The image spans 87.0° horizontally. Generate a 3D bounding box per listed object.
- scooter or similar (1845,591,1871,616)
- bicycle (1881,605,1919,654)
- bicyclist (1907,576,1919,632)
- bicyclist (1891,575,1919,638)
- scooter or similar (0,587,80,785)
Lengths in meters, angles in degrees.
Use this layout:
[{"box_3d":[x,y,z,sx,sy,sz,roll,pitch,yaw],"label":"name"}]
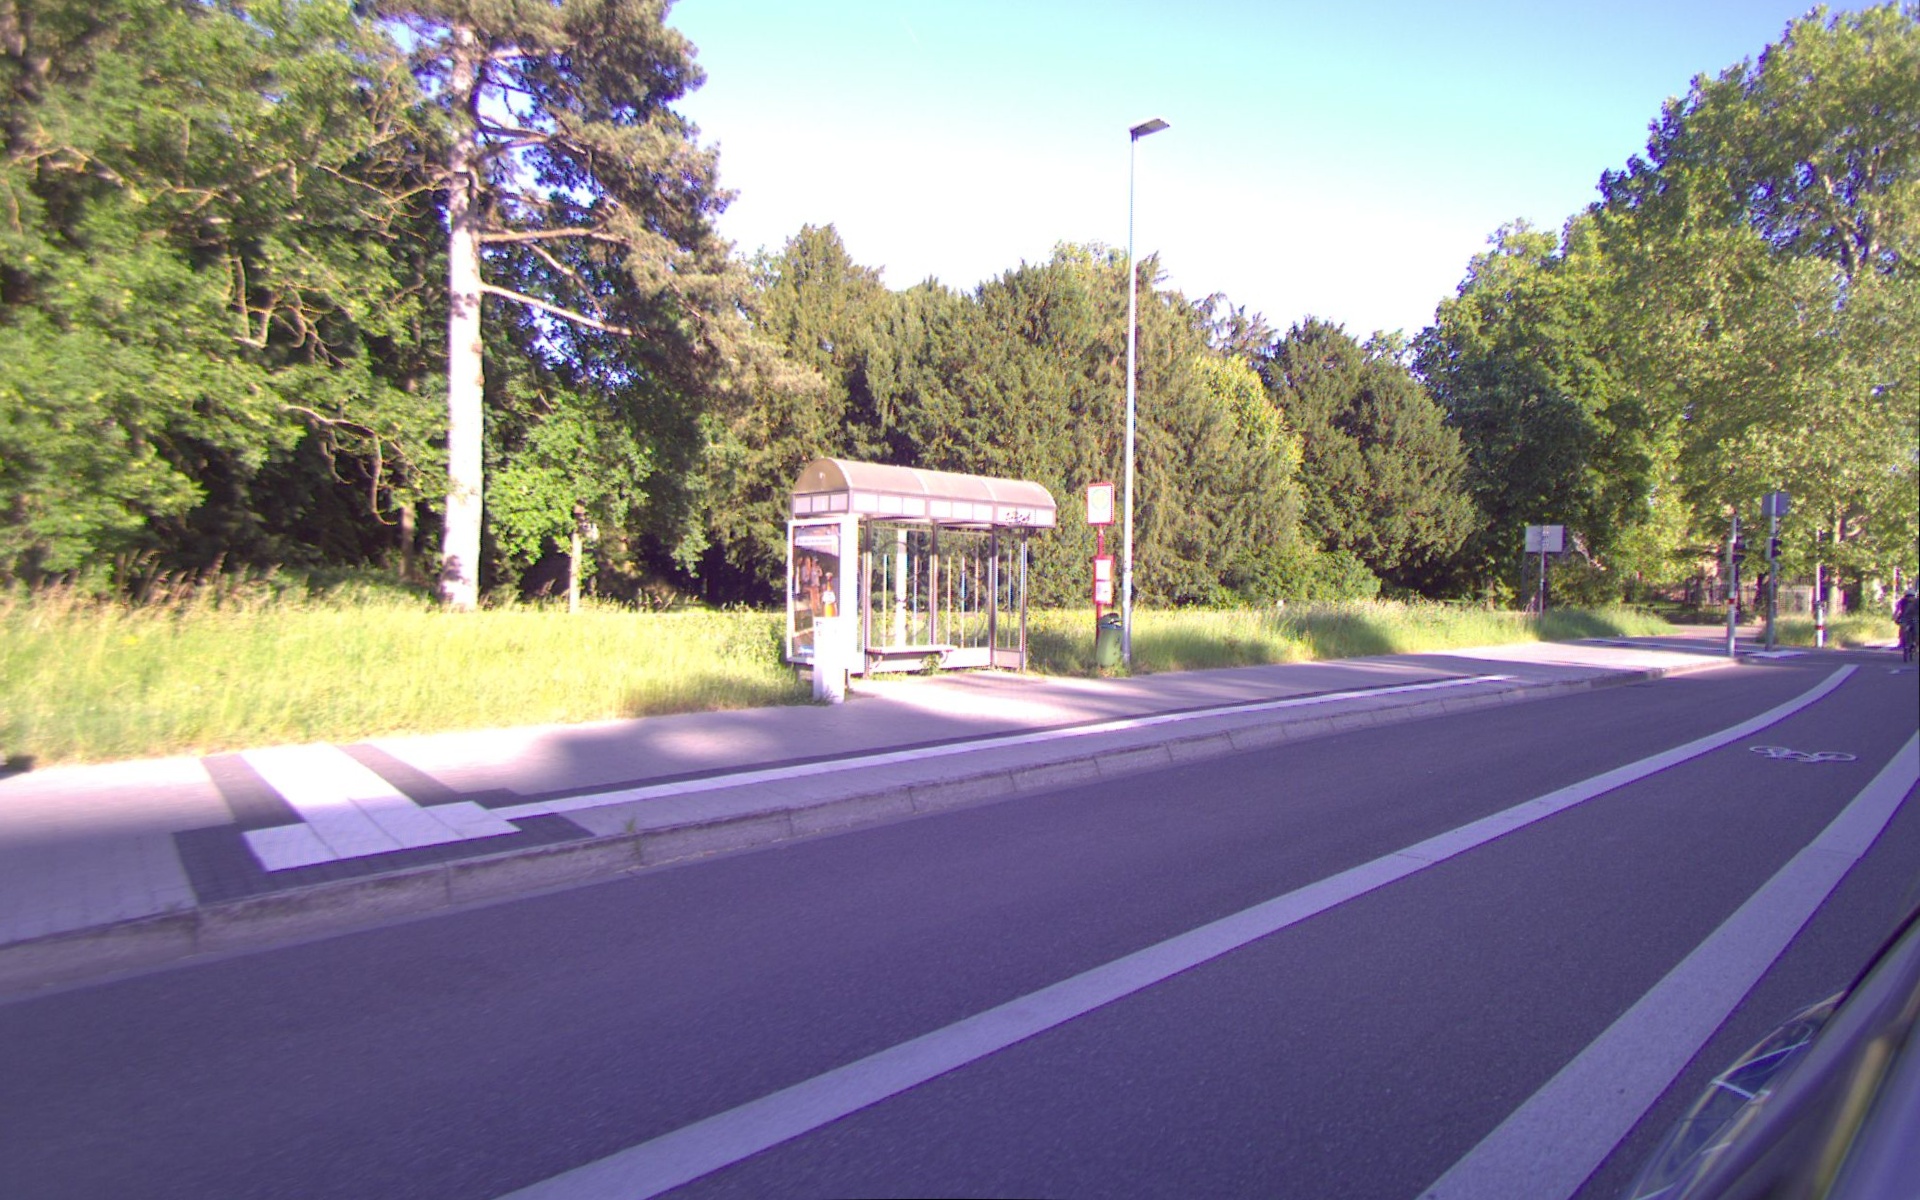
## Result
[{"box_3d":[48.295,0.172,54.391,1.806,1.270,0.794,0,5,-43],"label":"scooter or similar"},{"box_3d":[23.156,0.687,24.510,2.094,1.109,0.696,0,1,-32],"label":"bicycle"},{"box_3d":[26.725,0.114,28.024,0.693,1.520,0.878,2,1,44],"label":"bicyclist"},{"box_3d":[23.151,0.159,24.495,0.785,1.509,0.696,0,1,-32],"label":"bicyclist"},{"box_3d":[-6.801,0.550,6.690,1.300,1.263,0.726,1,1,-20],"label":"scooter or similar"}]
